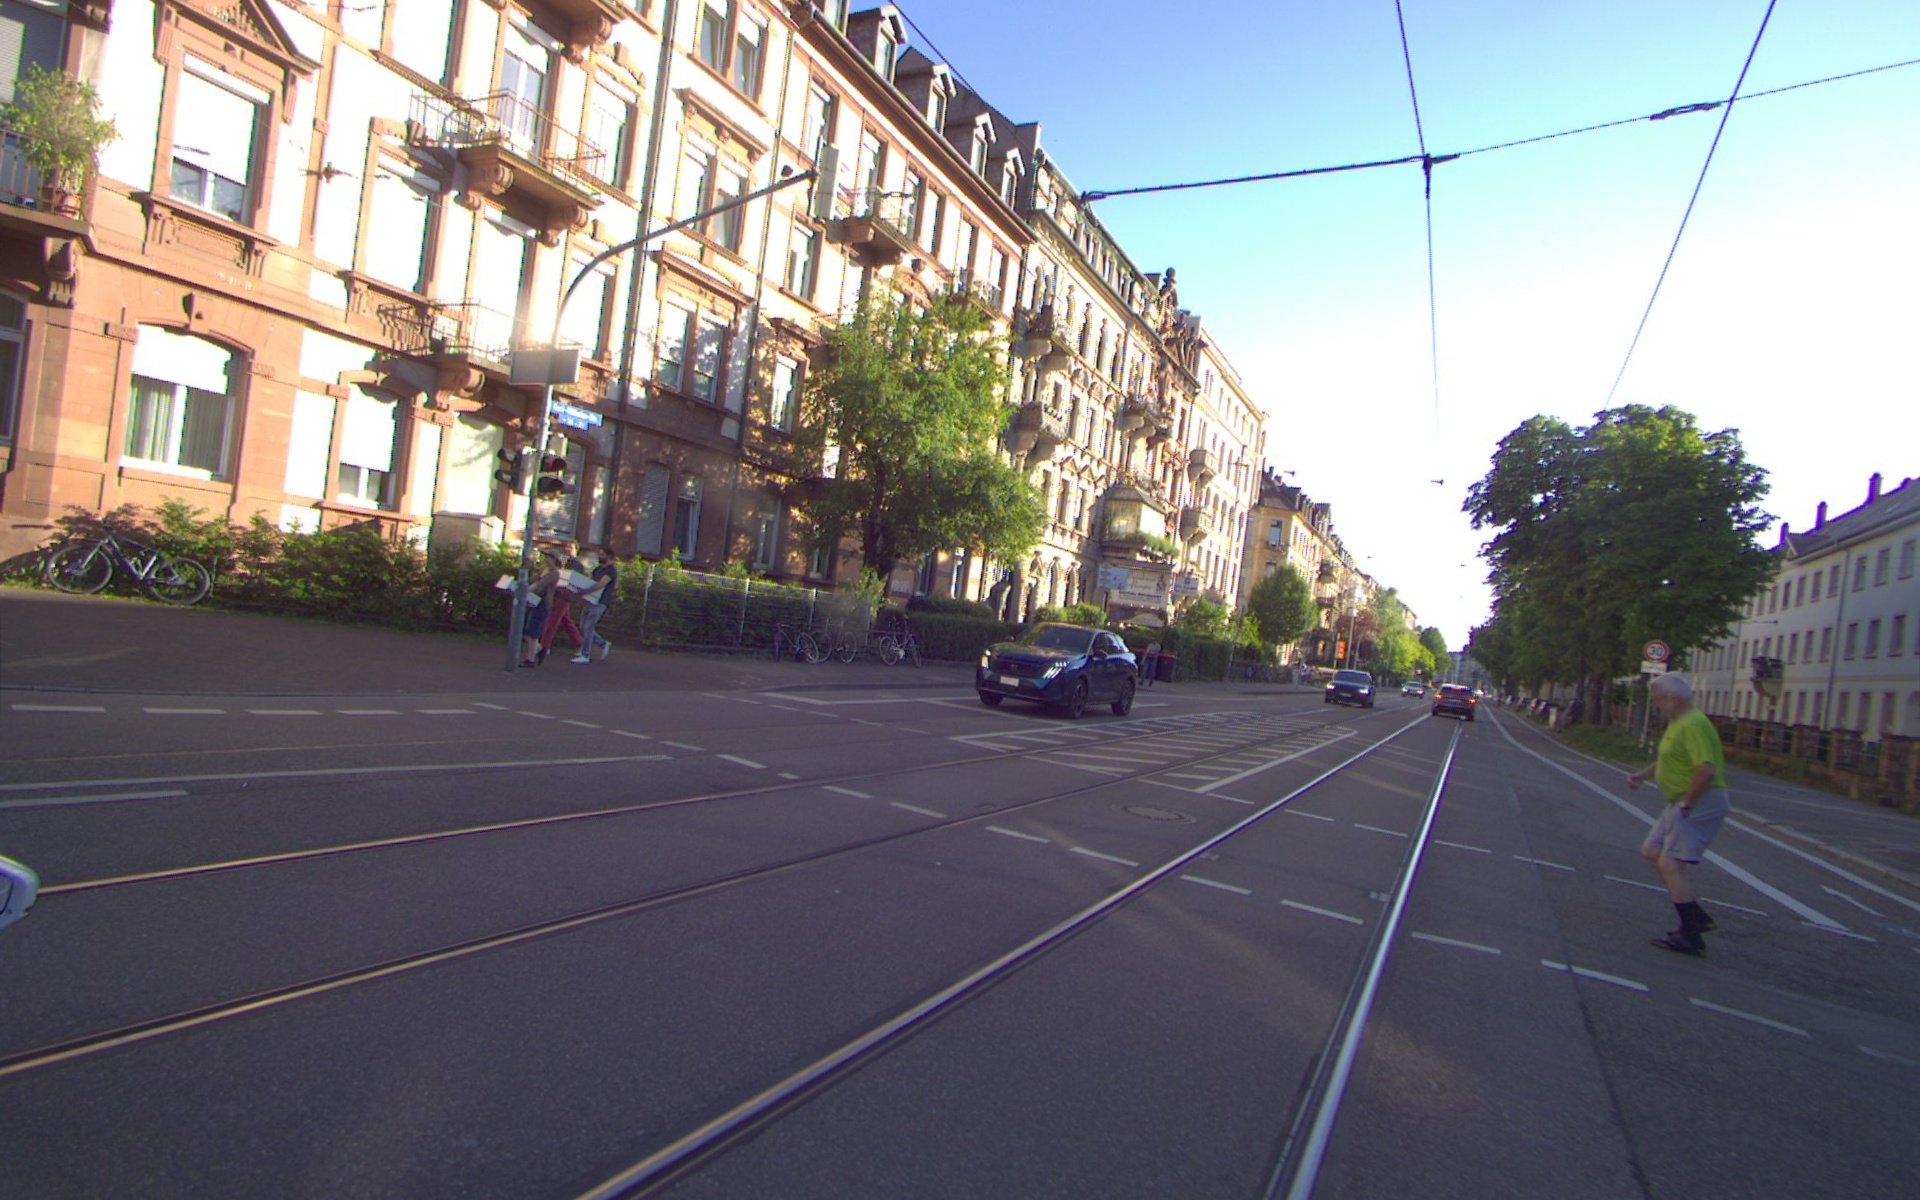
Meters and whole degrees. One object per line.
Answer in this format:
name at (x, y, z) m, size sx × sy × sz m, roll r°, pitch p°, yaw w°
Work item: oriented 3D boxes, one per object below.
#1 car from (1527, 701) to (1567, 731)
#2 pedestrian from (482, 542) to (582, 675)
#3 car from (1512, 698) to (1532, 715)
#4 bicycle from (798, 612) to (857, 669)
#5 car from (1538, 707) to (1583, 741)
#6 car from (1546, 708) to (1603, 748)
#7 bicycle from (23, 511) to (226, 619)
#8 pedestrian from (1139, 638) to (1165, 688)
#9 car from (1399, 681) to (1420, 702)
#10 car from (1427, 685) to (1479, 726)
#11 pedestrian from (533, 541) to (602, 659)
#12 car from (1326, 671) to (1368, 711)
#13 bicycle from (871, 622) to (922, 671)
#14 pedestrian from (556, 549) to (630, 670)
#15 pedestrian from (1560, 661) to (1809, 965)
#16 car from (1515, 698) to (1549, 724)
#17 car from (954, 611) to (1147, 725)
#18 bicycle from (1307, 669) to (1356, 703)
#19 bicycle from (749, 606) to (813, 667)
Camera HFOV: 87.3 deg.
car at (37.374, 7.386, 64.119) m, size 1.571 × 1.556 × 3.891 m, roll 7°, pitch -1°, yaw 24°
pedestrian at (-5.941, 0.122, 13.969) m, size 0.893 × 1.686 × 0.702 m, roll 7°, pitch 3°, yaw -45°
car at (50.950, 9.612, 91.214) m, size 1.419 × 1.263 × 3.312 m, roll 7°, pitch -1°, yaw 28°
bicycle at (-2.845, 0.882, 21.703) m, size 0.436 × 1.121 × 1.231 m, roll 8°, pitch 0°, yaw 33°
car at (34.279, 7.032, 57.536) m, size 1.571 × 1.556 × 3.891 m, roll 7°, pitch -1°, yaw 24°
car at (27.853, 5.773, 45.688) m, size 1.525 × 1.457 × 3.836 m, roll 7°, pitch -1°, yaw 24°
bicycle at (-11.257, -0.450, 13.631) m, size 1.946 × 1.120 × 0.440 m, roll 10°, pitch -1°, yaw -29°
pedestrian at (6.733, 2.213, 35.235) m, size 0.518 × 1.661 × 0.493 m, roll 7°, pitch 0°, yaw 39°
car at (41.387, 8.408, 92.699) m, size 1.571 × 1.630 × 3.600 m, roll 7°, pitch -1°, yaw 24°
car at (23.395, 4.969, 47.825) m, size 1.941 × 1.604 × 4.473 m, roll 7°, pitch -1°, yaw 25°
pedestrian at (-6.085, 0.009, 15.594) m, size 0.514 × 1.736 × 0.634 m, roll 7°, pitch 0°, yaw 41°
car at (17.447, 4.074, 45.373) m, size 1.508 × 1.542 × 3.477 m, roll 7°, pitch -1°, yaw 22°
bicycle at (-1.506, 1.112, 23.923) m, size 0.436 × 1.051 × 1.231 m, roll 8°, pitch 0°, yaw 32°
pedestrian at (-5.570, 0.144, 15.257) m, size 0.654 × 1.736 × 0.634 m, roll 7°, pitch 0°, yaw 41°
pedestrian at (4.749, 1.361, 6.653) m, size 0.636 × 1.748 × 0.885 m, roll 10°, pitch 1°, yaw -17°
car at (41.575, 8.015, 73.184) m, size 1.571 × 1.556 × 3.891 m, roll 7°, pitch -1°, yaw 24°
car at (1.847, 1.303, 18.958) m, size 1.915 × 1.669 × 4.406 m, roll 7°, pitch -1°, yaw 28°
bicycle at (27.794, 6.408, 75.217) m, size 3.187 × 2.041 × 0.931 m, roll 7°, pitch 0°, yaw 23°
bicycle at (-3.637, 0.761, 20.528) m, size 0.436 × 1.121 × 1.231 m, roll 8°, pitch 0°, yaw 33°
